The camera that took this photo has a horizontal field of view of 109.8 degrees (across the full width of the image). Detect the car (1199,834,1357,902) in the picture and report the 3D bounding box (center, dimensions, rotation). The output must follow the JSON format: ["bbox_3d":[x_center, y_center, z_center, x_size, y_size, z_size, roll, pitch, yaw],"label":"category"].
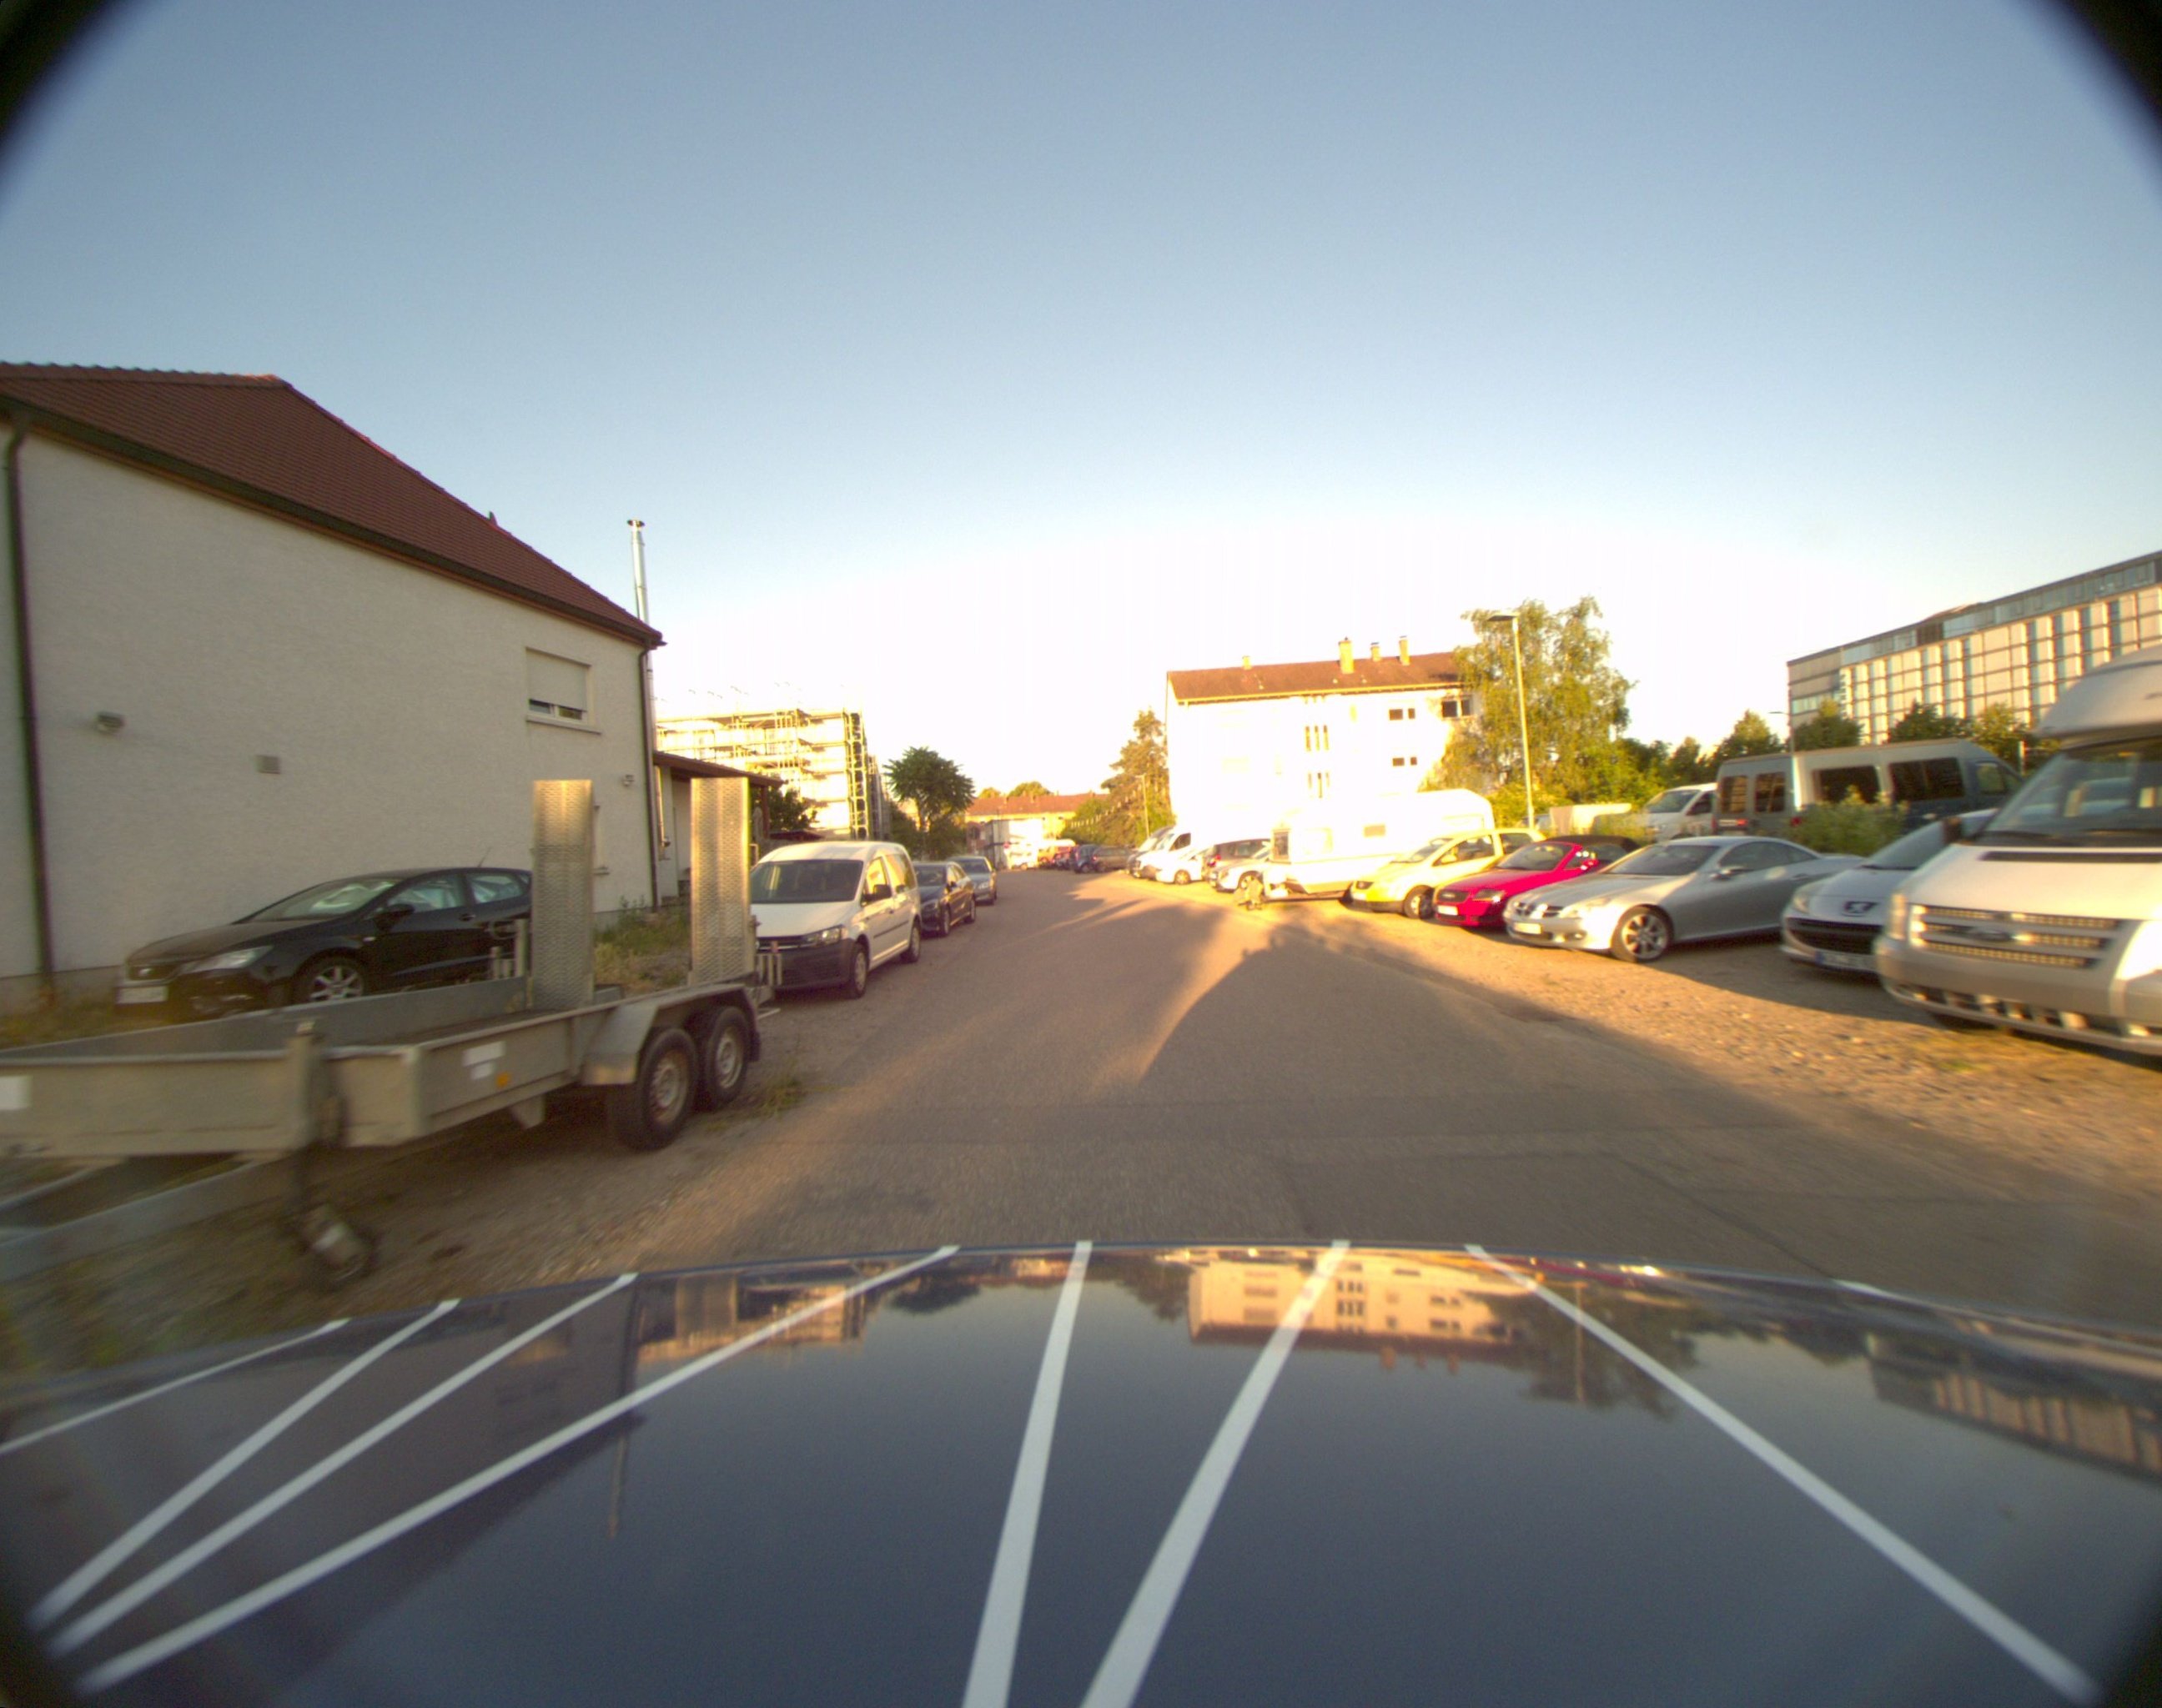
[{"bbox_3d":[5.850,0.382,22.818,4.138,1.582,1.747,-5,1,-5],"label":"car"}]

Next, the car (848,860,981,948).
[{"bbox_3d":[-3.346,0.935,16.074,1.708,1.510,4.088,-2,0,2],"label":"car"}]

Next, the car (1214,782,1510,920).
[{"bbox_3d":[6.381,-0.089,17.865,5.903,2.519,2.411,-5,2,-1],"label":"car"}]

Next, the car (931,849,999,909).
[{"bbox_3d":[-3.650,0.720,24.596,1.811,1.714,4.926,-1,0,-5],"label":"car"}]

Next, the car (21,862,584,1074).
[{"bbox_3d":[-7.687,0.980,8.165,1.639,1.511,3.904,-2,2,9],"label":"car"}]

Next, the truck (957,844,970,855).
[{"bbox_3d":[-24.335,-0.855,157.261,1.844,2.089,3.734,-6,1,-19],"label":"truck"}]

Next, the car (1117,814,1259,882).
[{"bbox_3d":[5.218,-0.334,37.334,6.410,2.698,2.110,-5,2,-13],"label":"car"}]

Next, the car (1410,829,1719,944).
[{"bbox_3d":[7.391,0.464,11.836,3.737,1.359,1.705,-4,0,-5],"label":"car"}]

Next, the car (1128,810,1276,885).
[{"bbox_3d":[5.214,-0.284,33.085,5.844,2.697,2.049,-5,1,-9],"label":"car"}]

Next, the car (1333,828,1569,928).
[{"bbox_3d":[7.000,0.426,14.589,3.639,1.510,1.705,-4,0,-5],"label":"car"}]

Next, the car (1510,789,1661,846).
[{"bbox_3d":[15.930,-1.115,24.102,3.613,1.468,1.665,-4,0,0],"label":"car"}]

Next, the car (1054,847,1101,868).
[{"bbox_3d":[-0.342,0.317,67.784,4.047,1.610,1.849,-4,1,-3],"label":"car"}]

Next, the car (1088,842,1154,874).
[{"bbox_3d":[2.515,0.238,48.365,3.936,1.642,1.747,-5,0,-4],"label":"car"}]

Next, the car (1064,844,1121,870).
[{"bbox_3d":[0.852,0.261,58.706,4.103,1.617,1.821,-3,-4,-10],"label":"car"}]

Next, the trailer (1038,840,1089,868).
[{"bbox_3d":[-1.763,0.006,76.694,4.806,2.419,2.132,-5,2,-5],"label":"trailer"}]

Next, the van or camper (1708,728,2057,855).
[{"bbox_3d":[14.860,-1.094,14.317,4.347,1.880,1.933,-4,1,2],"label":"van or camper"}]

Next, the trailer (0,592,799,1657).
[{"bbox_3d":[-3.312,0.587,3.467,2.069,2.198,5.222,-2,0,-1],"label":"trailer"}]

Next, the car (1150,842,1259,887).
[{"bbox_3d":[4.912,0.399,30.491,3.937,1.498,1.788,-4,1,-6],"label":"car"}]

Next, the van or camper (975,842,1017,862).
[{"bbox_3d":[-14.014,-0.293,124.977,6.475,2.625,2.405,-6,1,-10],"label":"van or camper"}]

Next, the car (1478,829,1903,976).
[{"bbox_3d":[7.194,0.522,9.222,3.818,1.321,1.692,-4,0,-3],"label":"car"}]

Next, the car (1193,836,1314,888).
[{"bbox_3d":[6.322,0.252,28.052,3.937,1.582,1.746,-4,2,-6],"label":"car"}]

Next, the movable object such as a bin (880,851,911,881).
[{"bbox_3d":[-15.648,0.982,64.425,2.072,2.260,8.360,-2,0,-11],"label":"movable object such as a bin"}]

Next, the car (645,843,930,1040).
[{"bbox_3d":[-3.346,0.844,9.736,1.775,1.821,4.407,-2,2,1],"label":"car"}]

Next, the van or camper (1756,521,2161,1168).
[{"bbox_3d":[8.202,-0.251,4.086,6.756,2.881,2.409,-4,1,2],"label":"van or camper"}]

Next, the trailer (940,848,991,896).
[{"bbox_3d":[-4.655,0.676,31.216,1.736,1.767,4.934,-1,0,-5],"label":"trailer"}]

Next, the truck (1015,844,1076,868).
[{"bbox_3d":[-3.773,0.187,79.308,6.031,2.031,2.354,-4,1,-9],"label":"truck"}]

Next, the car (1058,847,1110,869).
[{"bbox_3d":[0.195,0.301,59.654,3.936,1.508,1.642,-4,1,-3],"label":"car"}]

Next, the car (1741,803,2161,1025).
[{"bbox_3d":[8.263,0.398,6.657,3.615,1.468,1.692,-4,0,-6],"label":"car"}]

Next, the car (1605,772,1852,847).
[{"bbox_3d":[16.258,-1.070,19.315,4.376,1.468,1.983,-4,0,5],"label":"car"}]

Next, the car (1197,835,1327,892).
[{"bbox_3d":[6.047,0.305,25.708,3.935,1.581,1.748,-4,0,2],"label":"car"}]

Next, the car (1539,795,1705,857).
[{"bbox_3d":[15.764,-0.792,22.275,3.613,1.468,1.665,-4,0,0],"label":"car"}]

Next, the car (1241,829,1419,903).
[{"bbox_3d":[6.682,0.293,20.628,4.137,1.582,1.747,-5,1,-4],"label":"car"}]

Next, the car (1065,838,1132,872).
[{"bbox_3d":[1.157,0.085,50.690,3.941,1.900,1.745,-5,0,-19],"label":"car"}]
